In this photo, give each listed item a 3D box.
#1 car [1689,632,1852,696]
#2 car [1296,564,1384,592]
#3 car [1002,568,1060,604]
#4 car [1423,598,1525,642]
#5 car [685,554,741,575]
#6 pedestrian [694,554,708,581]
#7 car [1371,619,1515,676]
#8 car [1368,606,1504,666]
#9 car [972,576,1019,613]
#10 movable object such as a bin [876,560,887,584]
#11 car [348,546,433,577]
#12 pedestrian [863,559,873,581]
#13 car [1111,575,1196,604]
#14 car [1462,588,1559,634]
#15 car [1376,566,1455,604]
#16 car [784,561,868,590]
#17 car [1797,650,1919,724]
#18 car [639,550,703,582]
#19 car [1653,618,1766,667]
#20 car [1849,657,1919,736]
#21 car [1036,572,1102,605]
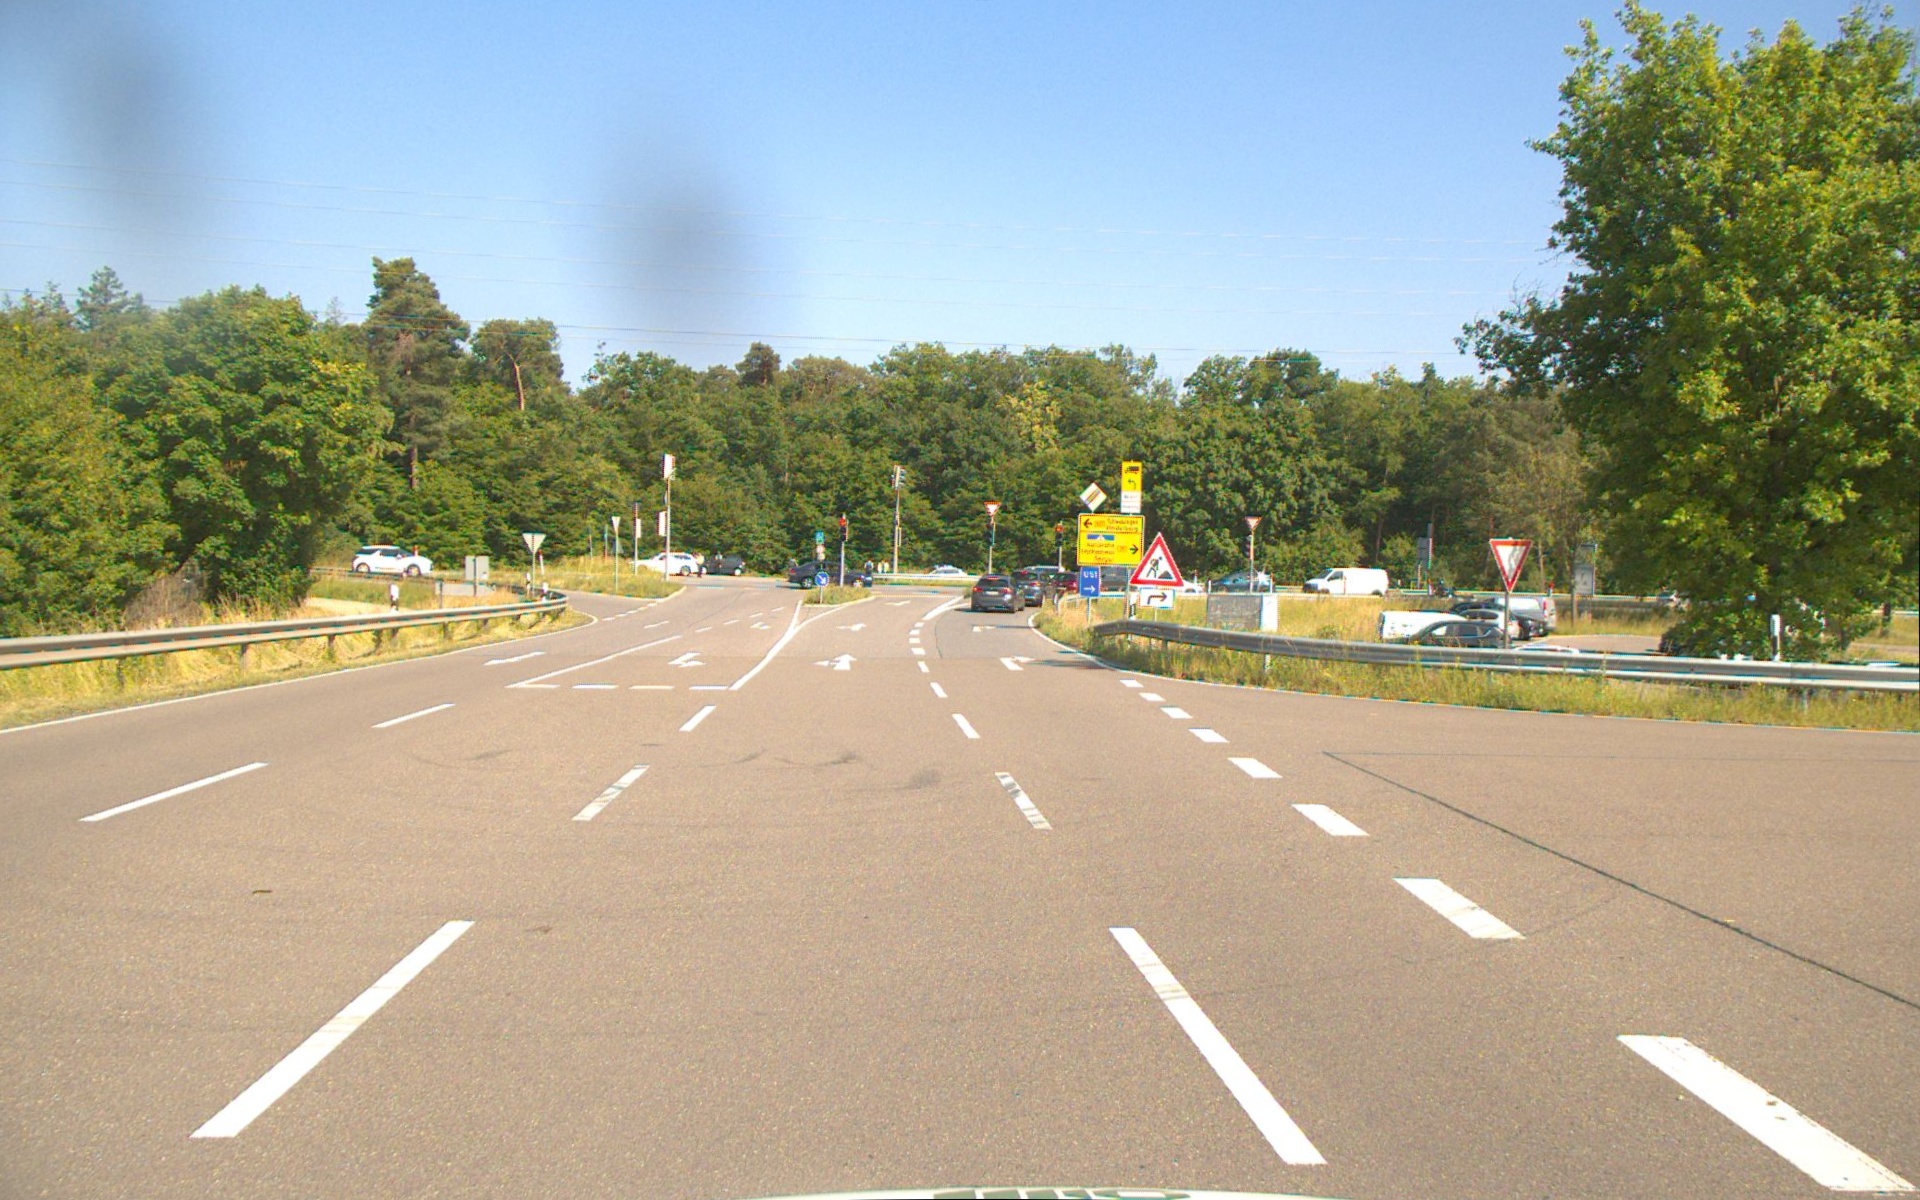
[{"bbox_3d":[25.536,1.984,52.256,4.264,1.616,2.001,4,1,17],"label":"car"},{"bbox_3d":[22.916,-1.340,99.740,4.791,1.579,1.996,-1,1,-10],"label":"car"},{"bbox_3d":[3.200,-0.620,73.666,1.761,1.527,4.003,2,1,14],"label":"car"},{"bbox_3d":[22.808,0.875,73.417,3.916,1.647,1.887,4,1,32],"label":"car"},{"bbox_3d":[-17.581,-2.542,117.846,3.914,1.447,1.792,-1,1,-10],"label":"car"},{"bbox_3d":[-17.101,-2.155,109.161,0.747,1.751,0.674,0,1,-25],"label":"pedestrian"},{"bbox_3d":[15.728,1.525,54.038,4.319,1.696,1.903,0,1,10],"label":"car"},{"bbox_3d":[16.341,1.210,56.988,4.262,1.814,1.903,2,1,10],"label":"car"},{"bbox_3d":[1.453,-0.228,66.339,1.761,1.422,4.002,0,1,3],"label":"car"},{"bbox_3d":[-4.957,-1.789,104.640,0.589,1.514,0.732,-1,1,5],"label":"movable object such as a bin"},{"bbox_3d":[-28.696,-1.934,83.503,3.763,1.512,1.886,1,0,-10],"label":"car"},{"bbox_3d":[-5.790,-1.880,104.088,0.512,1.415,0.514,-1,1,8],"label":"pedestrian"},{"bbox_3d":[10.468,-0.588,89.614,4.151,1.485,1.996,-1,1,-10],"label":"car"},{"bbox_3d":[26.179,0.512,78.648,3.922,1.909,1.884,4,1,37],"label":"car"},{"bbox_3d":[25.695,-0.869,93.399,3.912,2.048,1.798,1,2,-8],"label":"car"},{"bbox_3d":[-7.091,-1.298,87.414,4.285,1.485,1.996,-1,1,-10],"label":"car"},{"bbox_3d":[23.806,2.256,42.189,3.903,1.608,1.893,4,1,5],"label":"car"},{"bbox_3d":[-19.375,-2.275,110.981,3.935,2.049,1.782,-1,1,-25],"label":"car"},{"bbox_3d":[29.432,1.648,65.041,3.909,1.608,1.890,4,1,25],"label":"car"},{"bbox_3d":[23.594,2.382,39.242,3.903,1.694,1.893,4,1,5],"label":"car"},{"bbox_3d":[5.259,-0.560,79.249,1.764,1.527,3.997,2,1,26],"label":"car"}]
